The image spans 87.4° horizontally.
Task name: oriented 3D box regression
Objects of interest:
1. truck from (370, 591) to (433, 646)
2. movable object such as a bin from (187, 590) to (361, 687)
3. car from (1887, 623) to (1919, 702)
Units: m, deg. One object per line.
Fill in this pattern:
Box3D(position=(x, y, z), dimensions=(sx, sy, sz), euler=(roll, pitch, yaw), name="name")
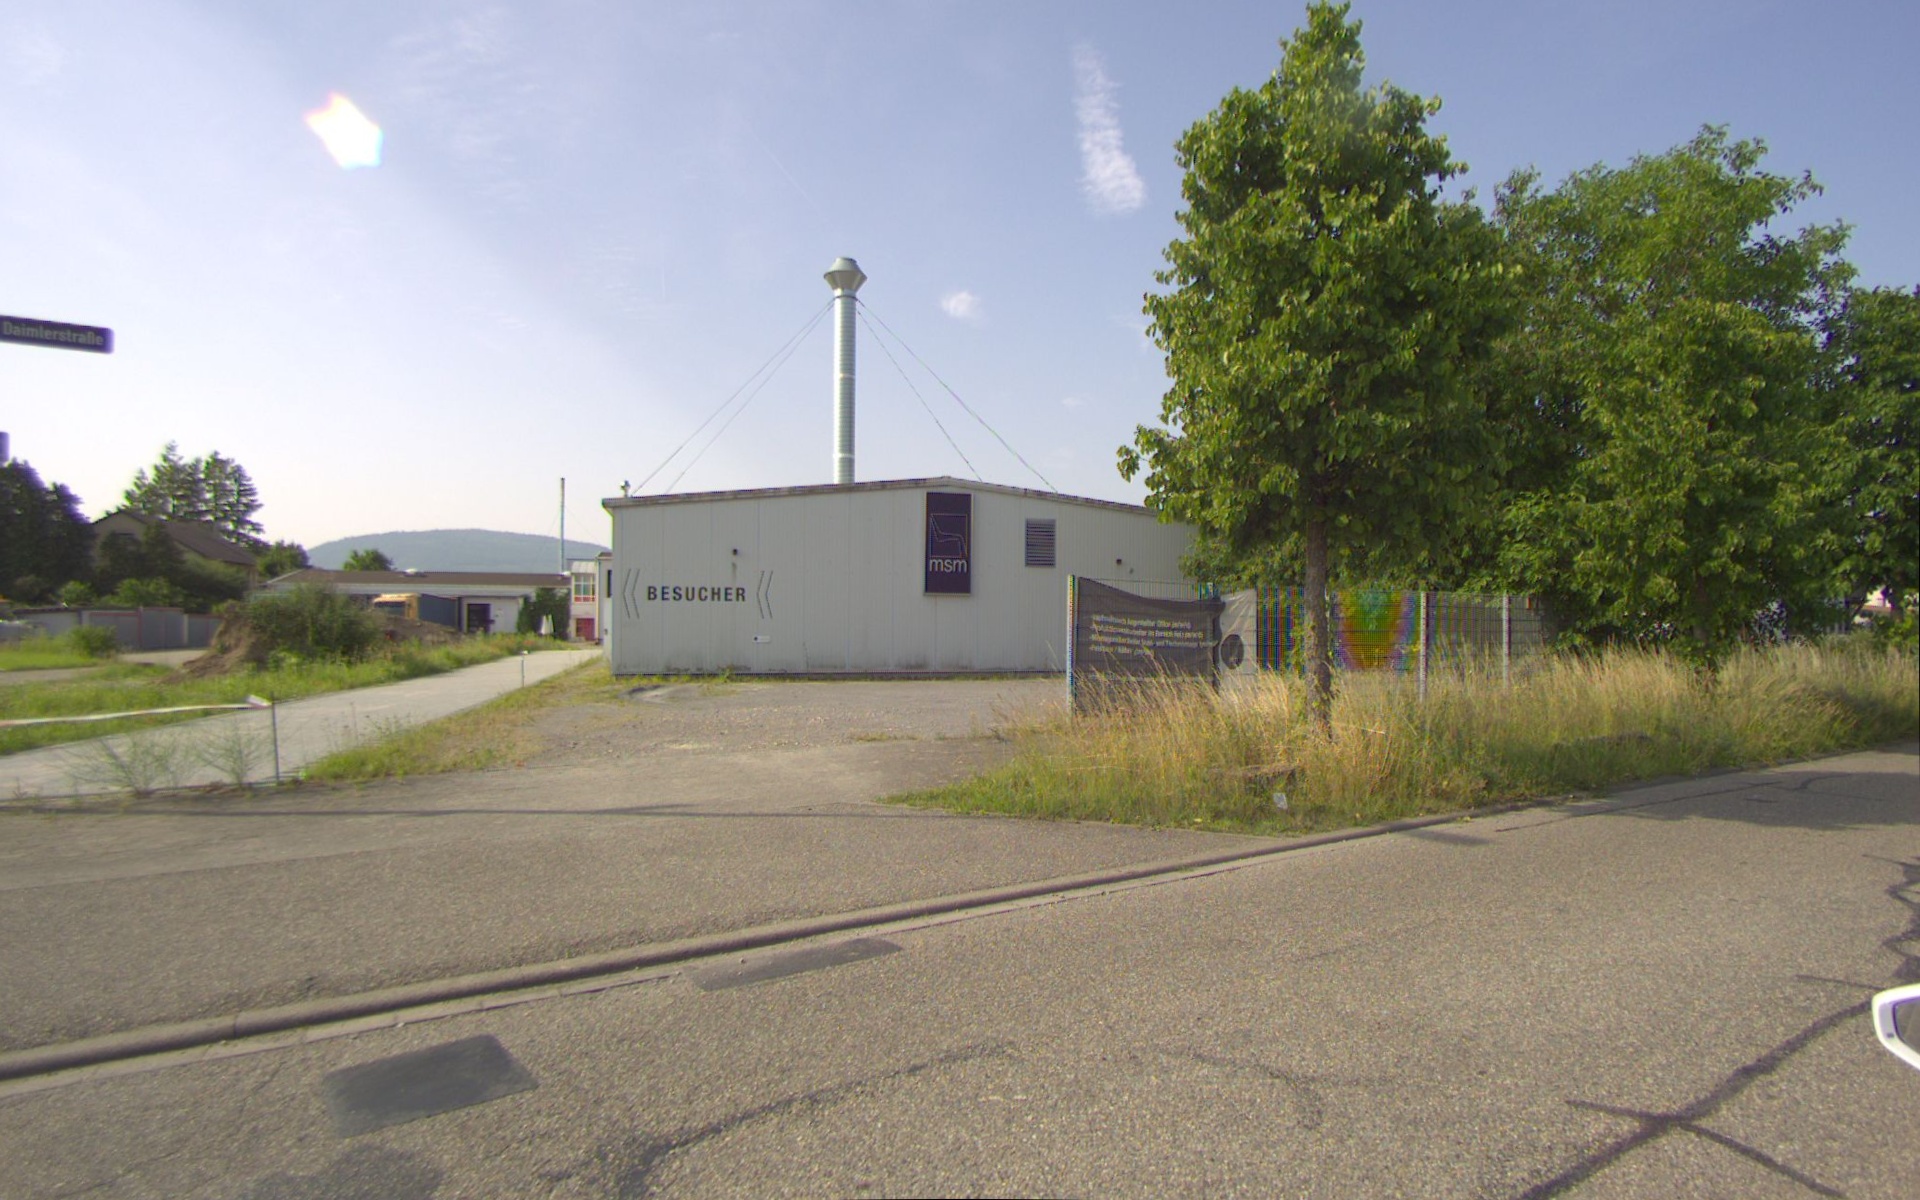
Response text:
Box3D(position=(-42.157, 1.450, 76.046), dimensions=(2.855, 3.938, 7.556), euler=(1, -2, -19), name="truck")
Box3D(position=(-19.017, 1.060, 28.130), dimensions=(2.210, 2.488, 4.302), euler=(0, -2, -7), name="movable object such as a bin")
Box3D(position=(20.676, 1.281, 20.517), dimensions=(3.645, 1.559, 1.559), euler=(1, 0, -30), name="car")
